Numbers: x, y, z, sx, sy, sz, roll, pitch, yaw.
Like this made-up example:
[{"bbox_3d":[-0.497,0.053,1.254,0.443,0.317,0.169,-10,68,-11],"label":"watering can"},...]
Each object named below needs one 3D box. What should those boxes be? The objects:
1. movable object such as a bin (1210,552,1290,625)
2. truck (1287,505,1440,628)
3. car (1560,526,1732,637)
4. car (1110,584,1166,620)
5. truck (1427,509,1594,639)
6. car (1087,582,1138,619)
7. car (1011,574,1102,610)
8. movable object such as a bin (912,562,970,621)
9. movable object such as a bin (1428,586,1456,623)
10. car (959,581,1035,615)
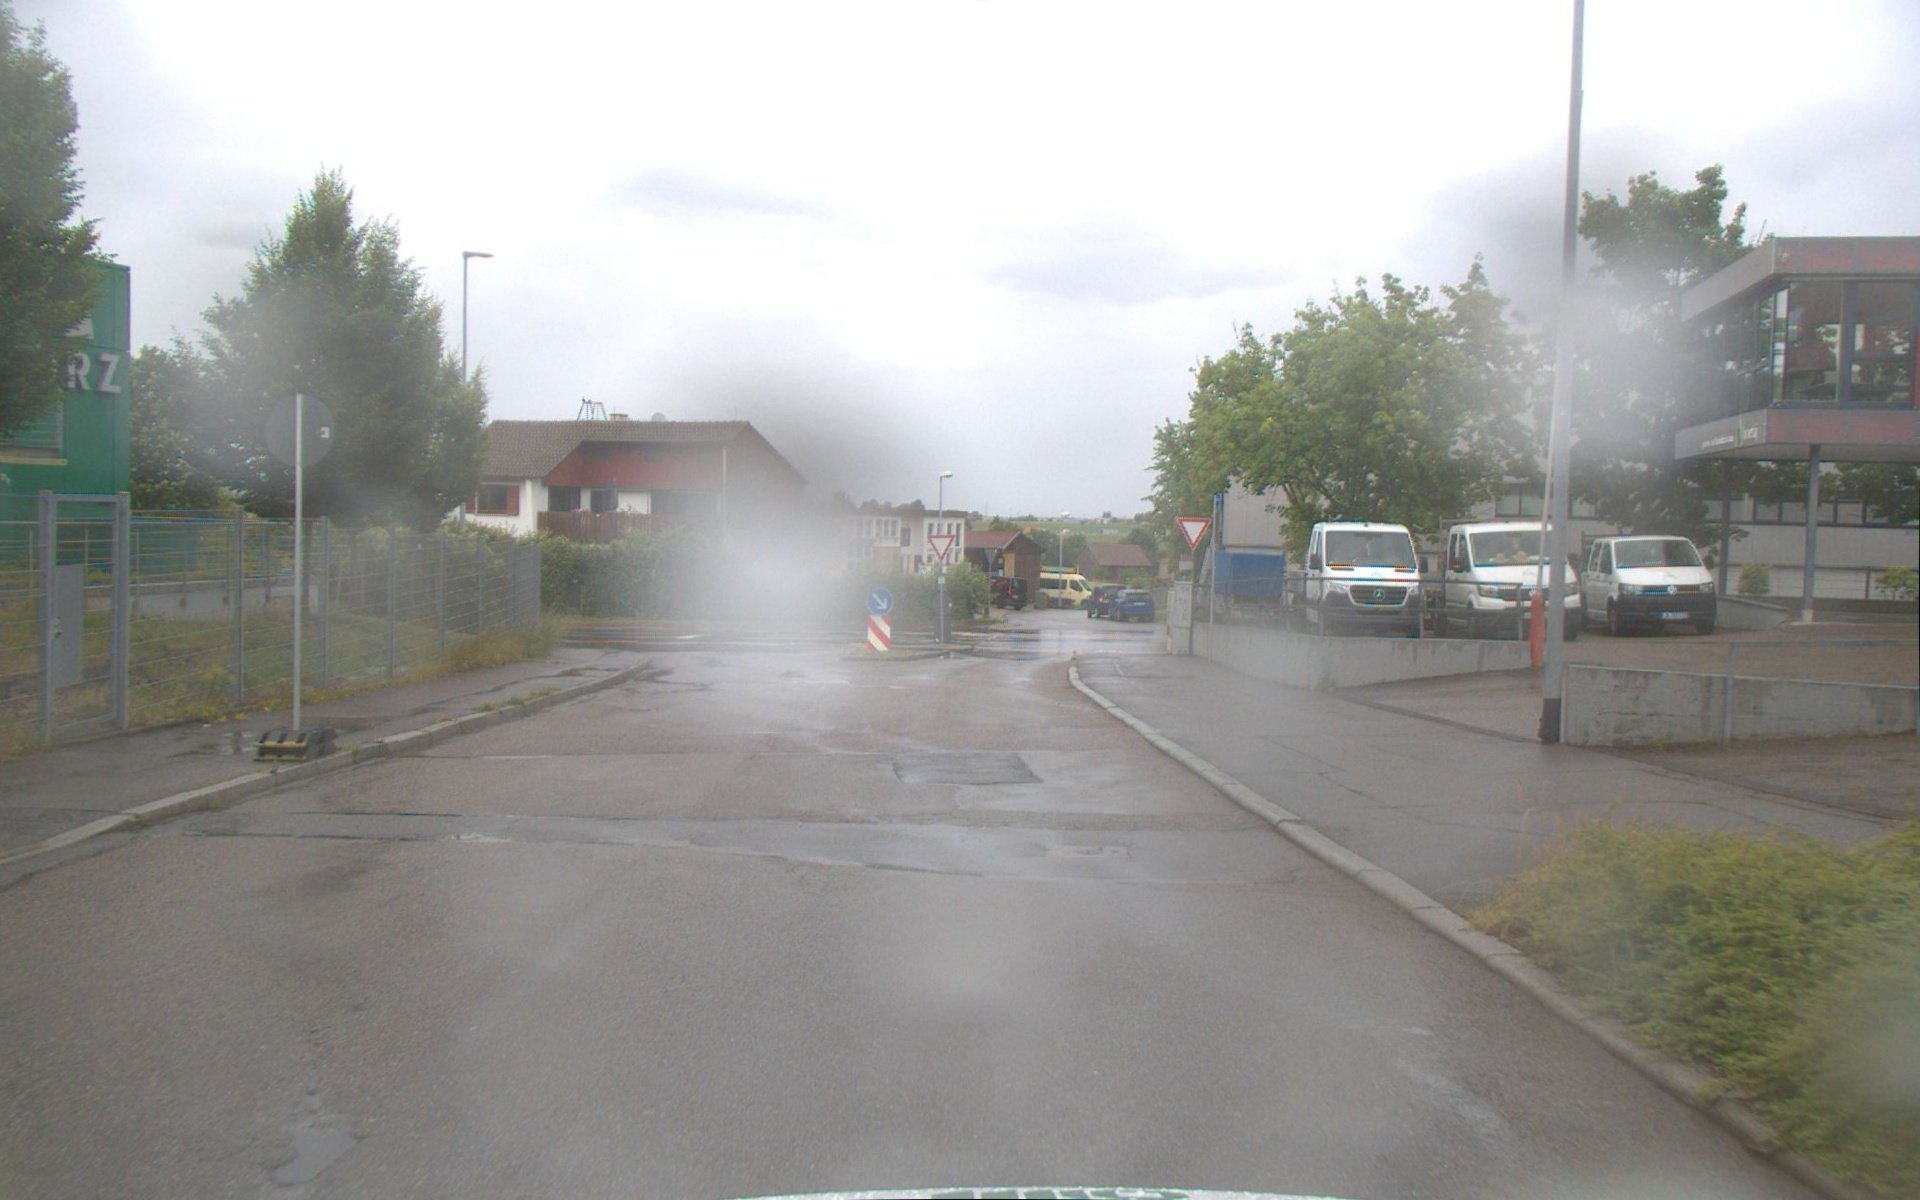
[{"bbox_3d":[6.324,-0.243,36.193,1.281,1.527,1.857,1,0,-5],"label":"movable object such as a bin"},{"bbox_3d":[8.059,-0.618,33.585,2.061,2.253,5.655,1,0,4],"label":"truck"},{"bbox_3d":[13.715,-0.352,33.393,2.012,2.049,4.942,1,0,8],"label":"car"},{"bbox_3d":[8.570,0.089,79.941,1.913,1.638,4.443,1,0,-4],"label":"car"},{"bbox_3d":[10.858,-0.470,33.000,2.195,2.383,4.840,-1,0,7],"label":"truck"},{"bbox_3d":[7.887,0.020,86.093,2.032,1.867,4.468,1,0,-3],"label":"car"},{"bbox_3d":[6.734,-0.575,115.354,5.886,2.457,2.463,1,0,22],"label":"car"},{"bbox_3d":[-0.845,-0.383,74.554,1.696,2.601,3.342,1,0,16],"label":"movable object such as a bin"},{"bbox_3d":[11.084,0.097,38.016,0.552,0.832,0.540,1,0,9],"label":"movable object such as a bin"},{"bbox_3d":[2.152,-0.130,97.882,4.336,1.938,1.986,1,0,45],"label":"car"}]
